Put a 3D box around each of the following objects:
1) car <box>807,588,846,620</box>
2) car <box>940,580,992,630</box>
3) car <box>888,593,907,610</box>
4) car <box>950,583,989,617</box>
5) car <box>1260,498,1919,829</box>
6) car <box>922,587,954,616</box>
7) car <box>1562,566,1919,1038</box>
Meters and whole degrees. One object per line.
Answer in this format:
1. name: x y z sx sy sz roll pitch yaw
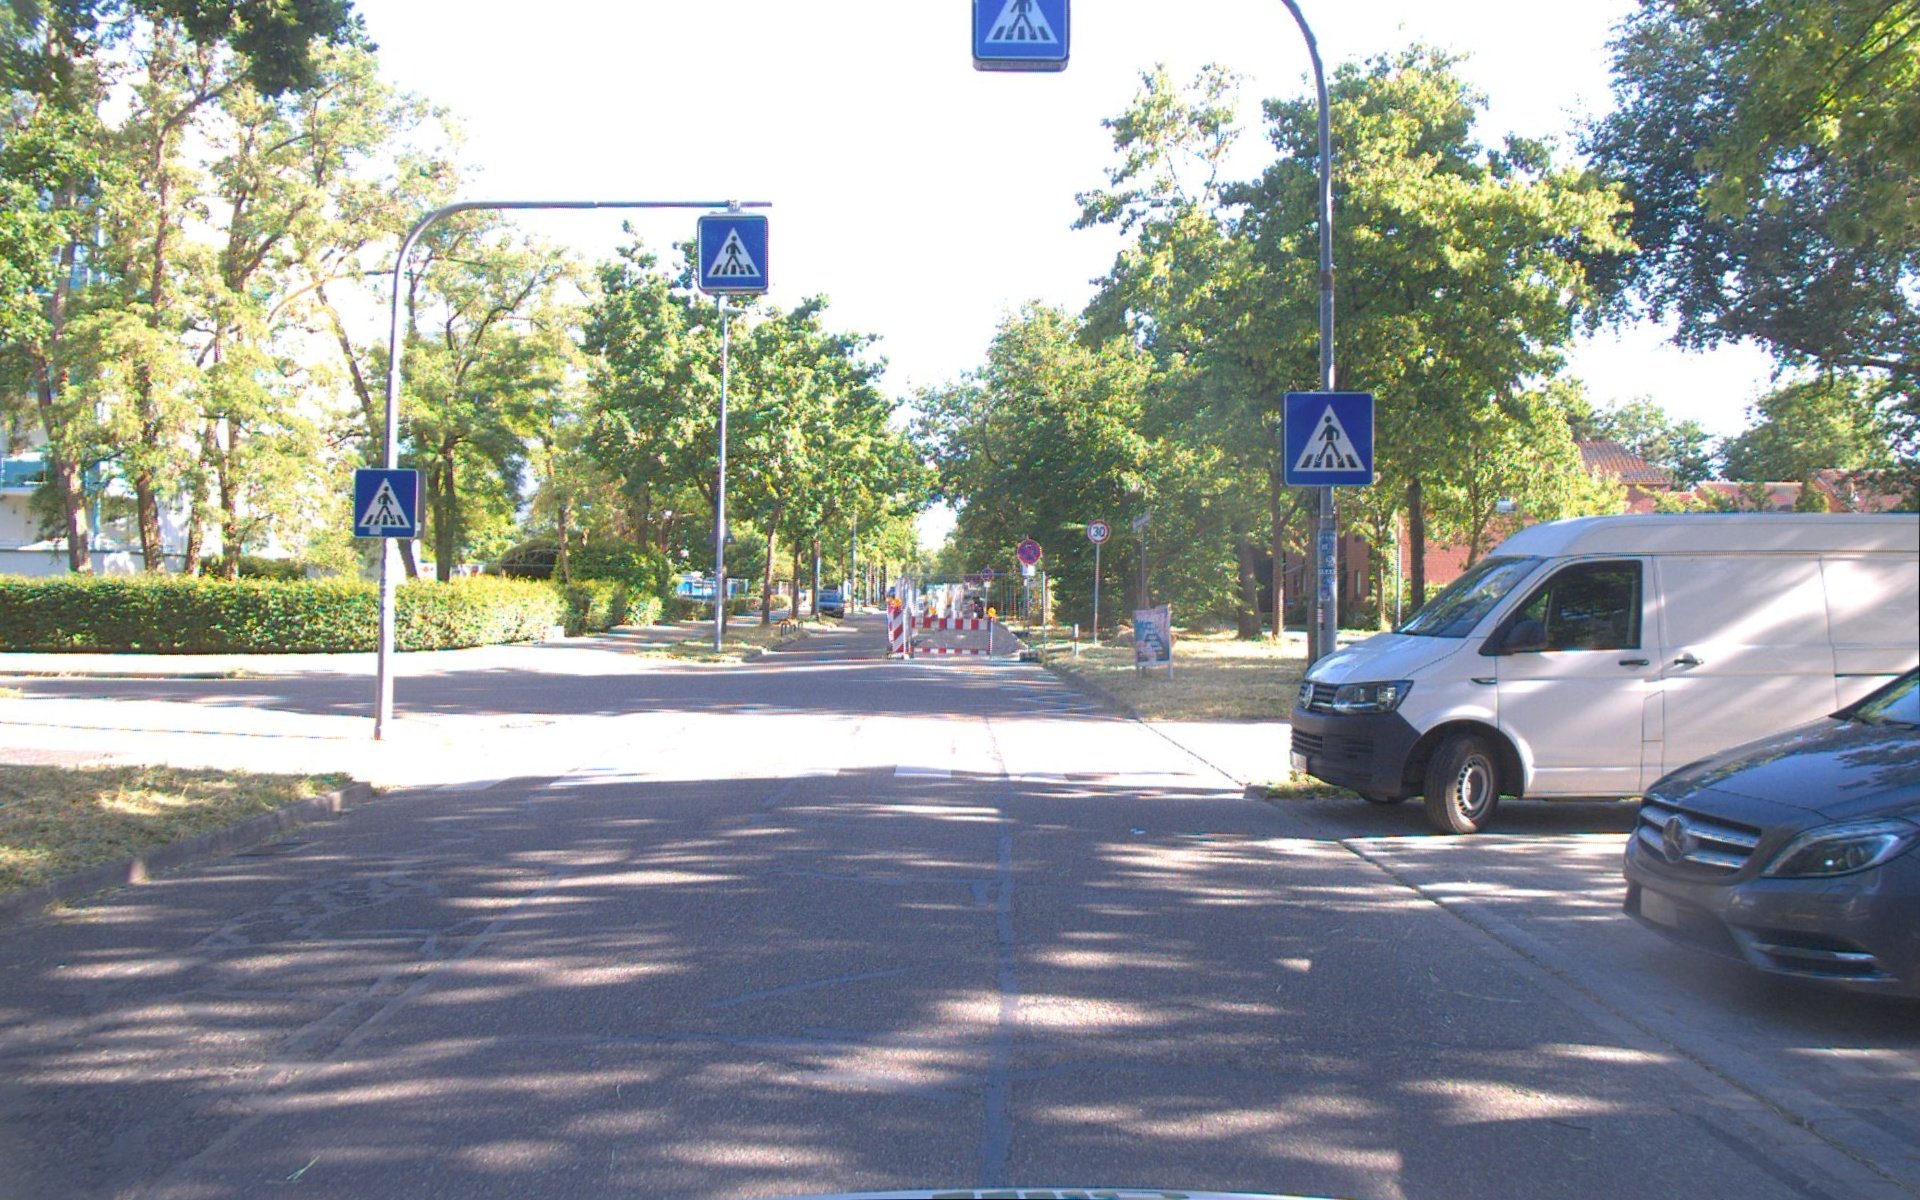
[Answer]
1. car: -7.591 0.247 94.497 1.953 1.746 3.999 1 0 -2
2. car: 0.219 0.193 67.797 1.953 1.967 3.999 1 0 -2
3. car: -6.669 0.132 177.037 1.953 1.746 3.999 0 0 -2
4. car: 0.467 0.003 88.540 1.953 1.746 3.999 1 0 -2
5. car: 4.896 0.413 11.854 5.083 2.142 2.081 0 0 -3
6. car: -1.381 0.099 104.257 1.953 1.746 3.999 1 0 -2
7. car: 4.860 0.720 6.686 4.128 1.596 1.932 1 0 -3
